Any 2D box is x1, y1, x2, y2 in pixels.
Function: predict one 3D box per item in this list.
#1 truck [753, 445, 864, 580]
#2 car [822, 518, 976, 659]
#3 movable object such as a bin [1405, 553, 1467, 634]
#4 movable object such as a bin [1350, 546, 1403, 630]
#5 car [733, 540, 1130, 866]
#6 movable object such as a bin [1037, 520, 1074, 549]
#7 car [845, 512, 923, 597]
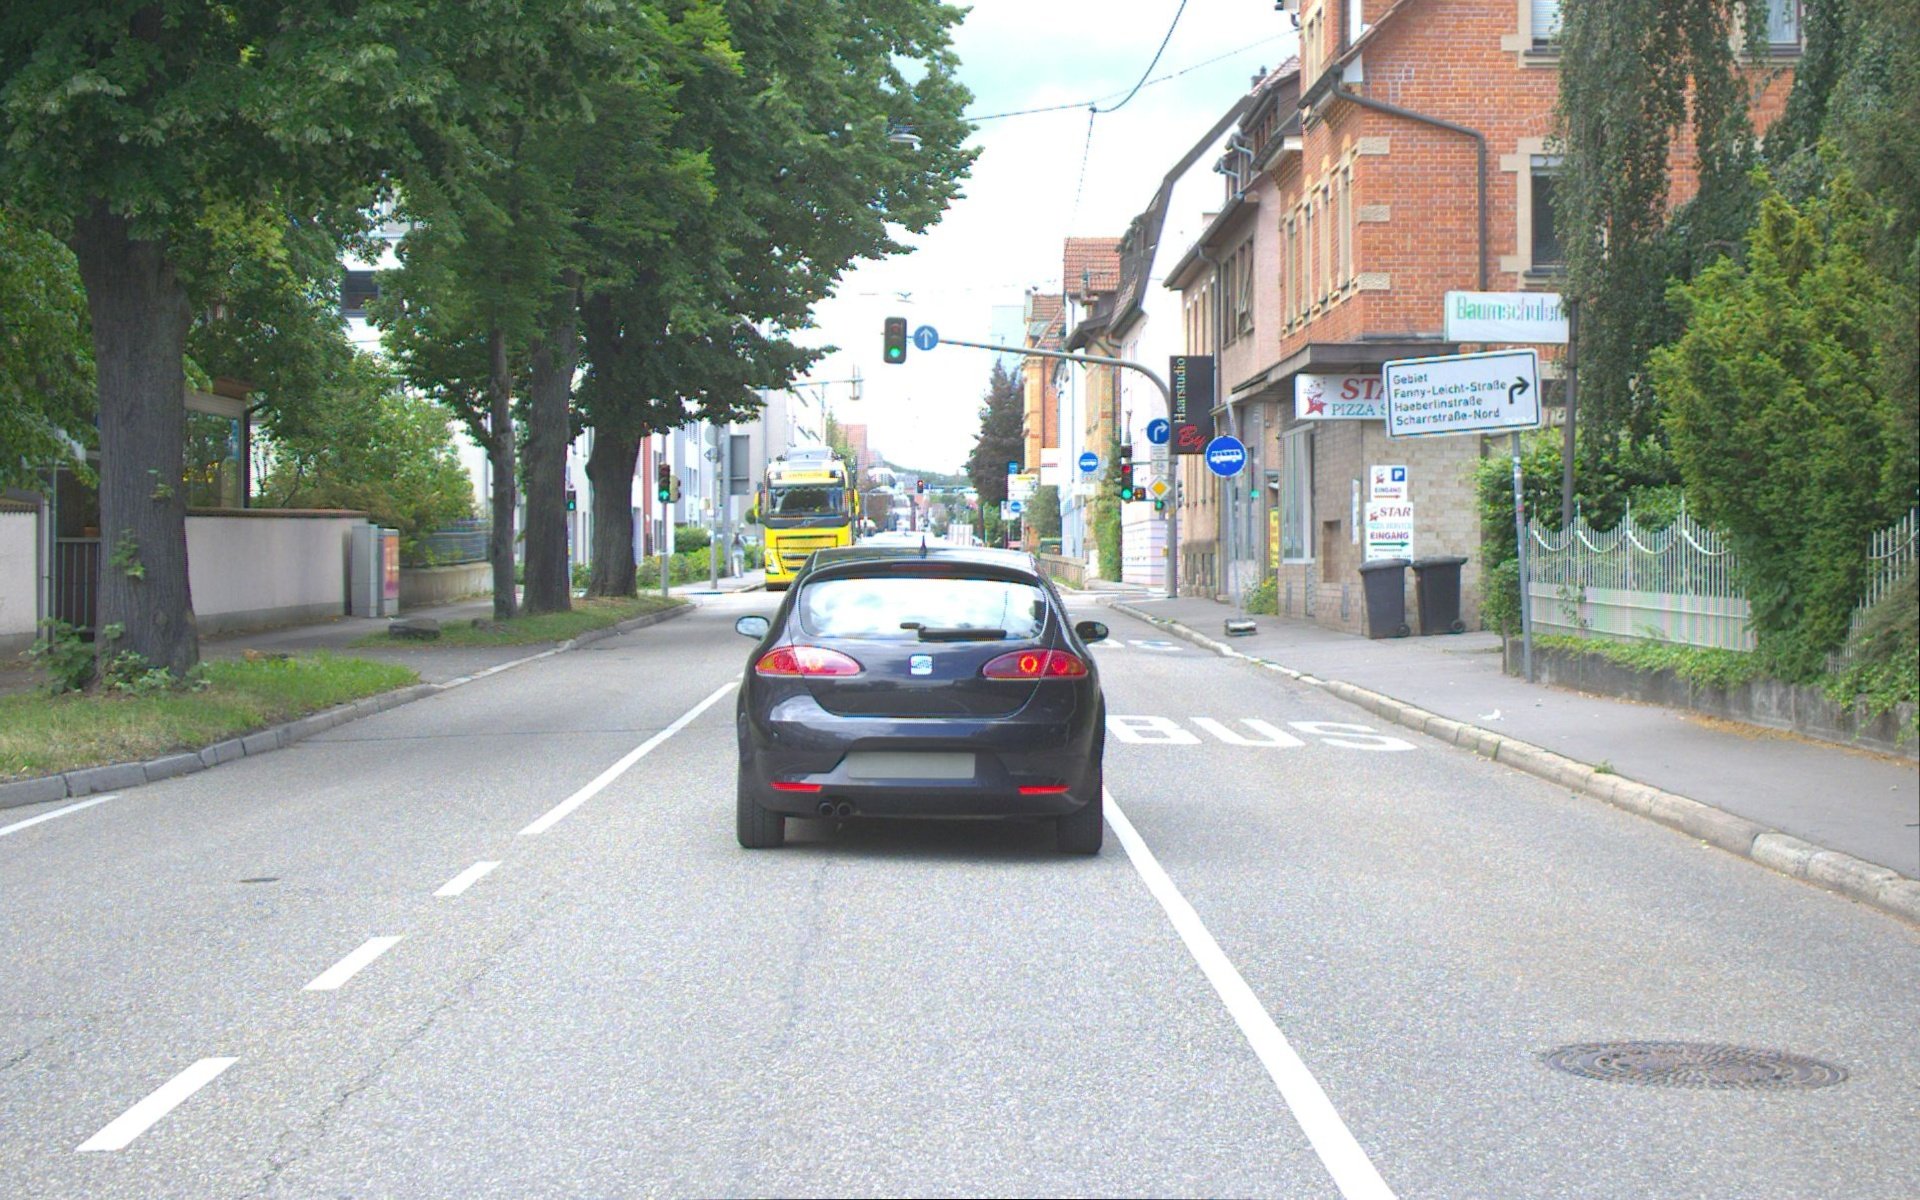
[{"bbox_3d":[-4.364,-2.513,100.303,2.843,3.769,7.669,1,1,0],"label":"truck"},{"bbox_3d":[-0.766,-0.162,43.601,1.842,1.687,4.000,1,1,-1],"label":"car"},{"bbox_3d":[6.445,-0.091,46.558,0.698,1.055,0.723,-2,1,0],"label":"movable object such as a bin"},{"bbox_3d":[5.633,-0.167,46.497,0.606,1.097,0.622,-2,1,0],"label":"movable object such as a bin"},{"bbox_3d":[-0.146,0.433,17.337,1.759,1.437,4.000,1,1,-1],"label":"car"},{"bbox_3d":[4.861,-3.316,174.562,1.818,1.432,1.993,1,1,0],"label":"movable object such as a bin"},{"bbox_3d":[-1.545,-0.930,70.463,1.531,1.687,3.693,1,1,-1],"label":"car"}]
